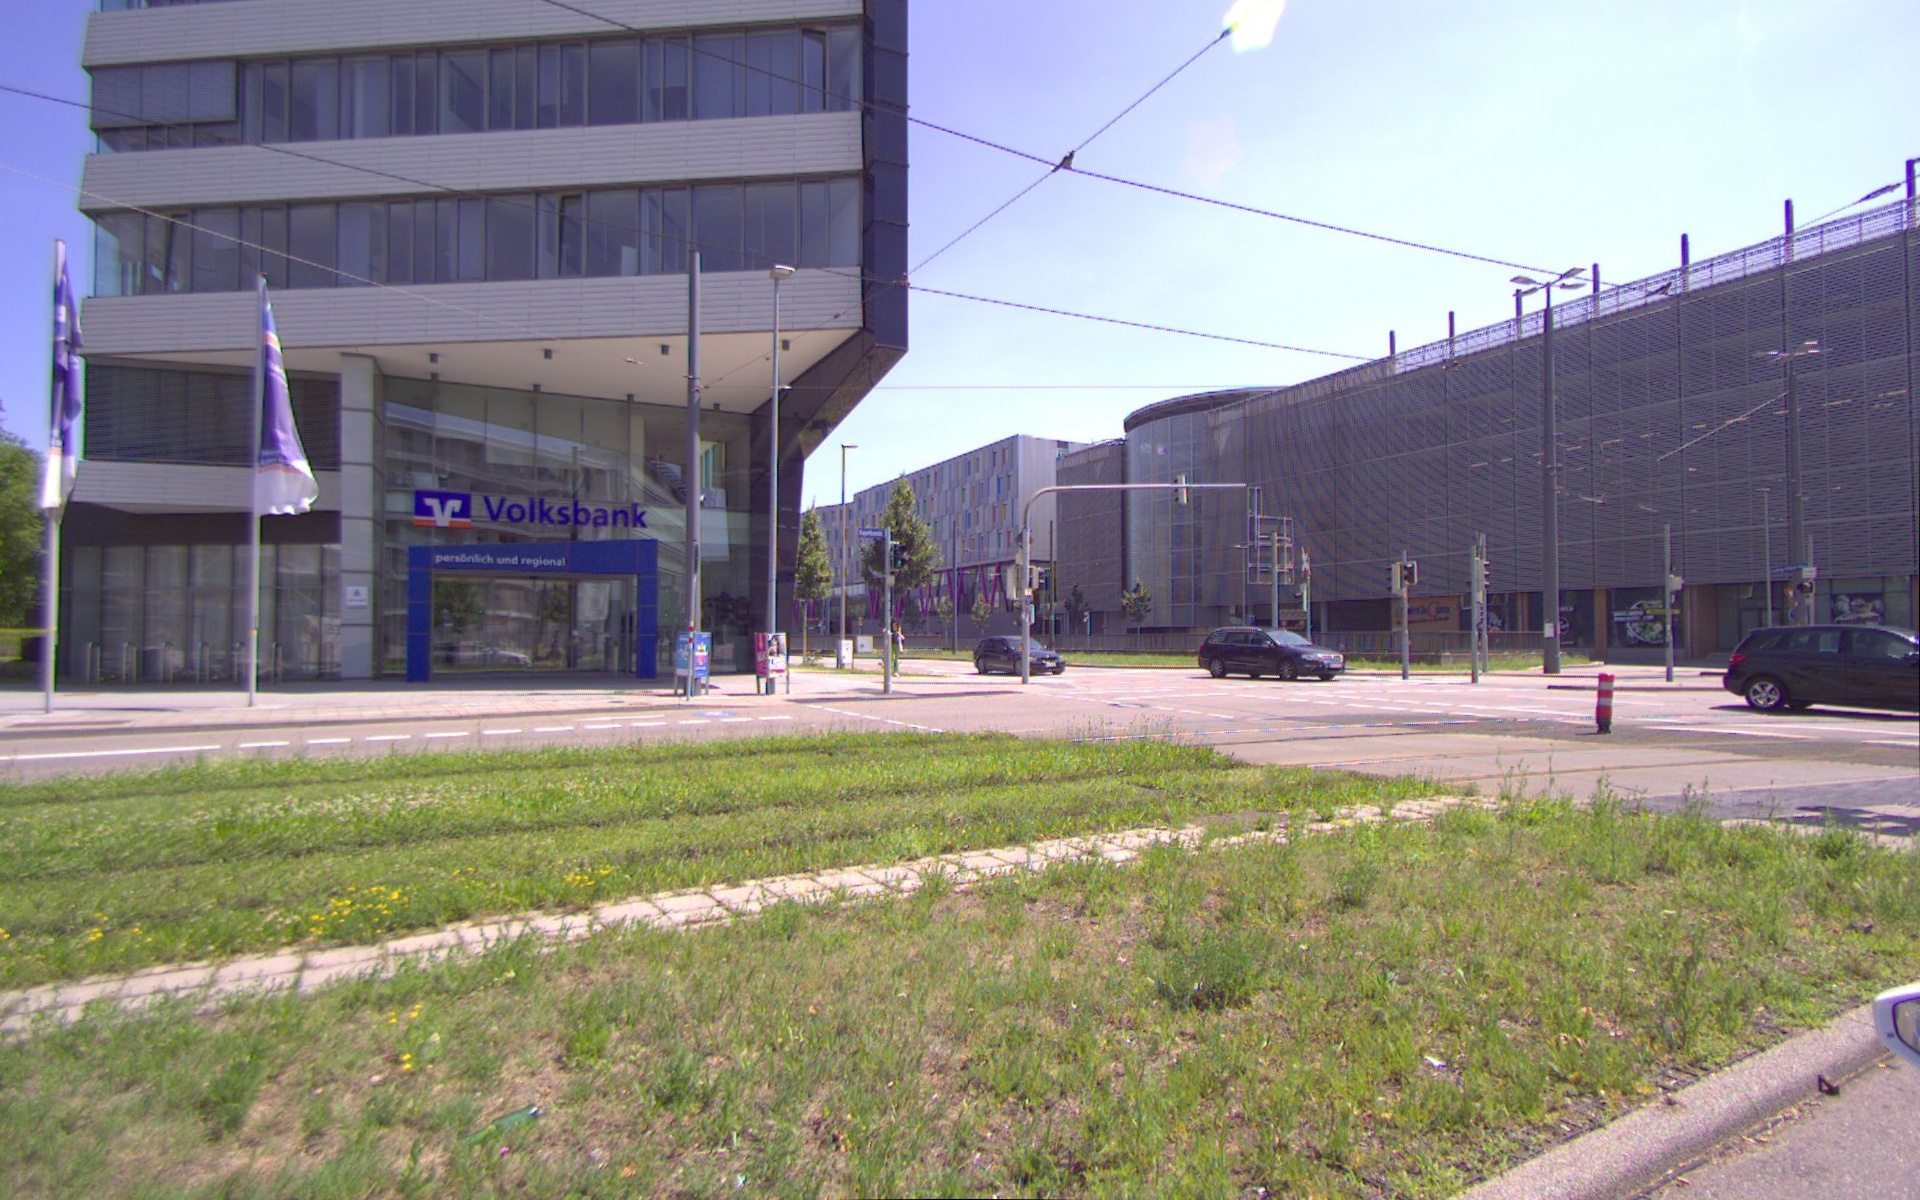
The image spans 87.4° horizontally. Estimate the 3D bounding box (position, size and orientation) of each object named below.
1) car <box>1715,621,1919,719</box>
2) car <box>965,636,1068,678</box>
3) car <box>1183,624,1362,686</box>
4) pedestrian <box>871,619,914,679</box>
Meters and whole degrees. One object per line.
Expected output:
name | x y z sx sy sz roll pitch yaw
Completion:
car | 15.977 1.151 17.356 1.978 1.574 4.296 0 -1 -32
car | 1.993 2.031 36.501 1.617 1.360 4.282 0 -1 -31
car | 8.942 1.517 29.198 1.979 1.601 4.825 0 -1 -34
pedestrian | -2.034 1.466 30.401 0.889 1.770 0.975 -1 -1 31
